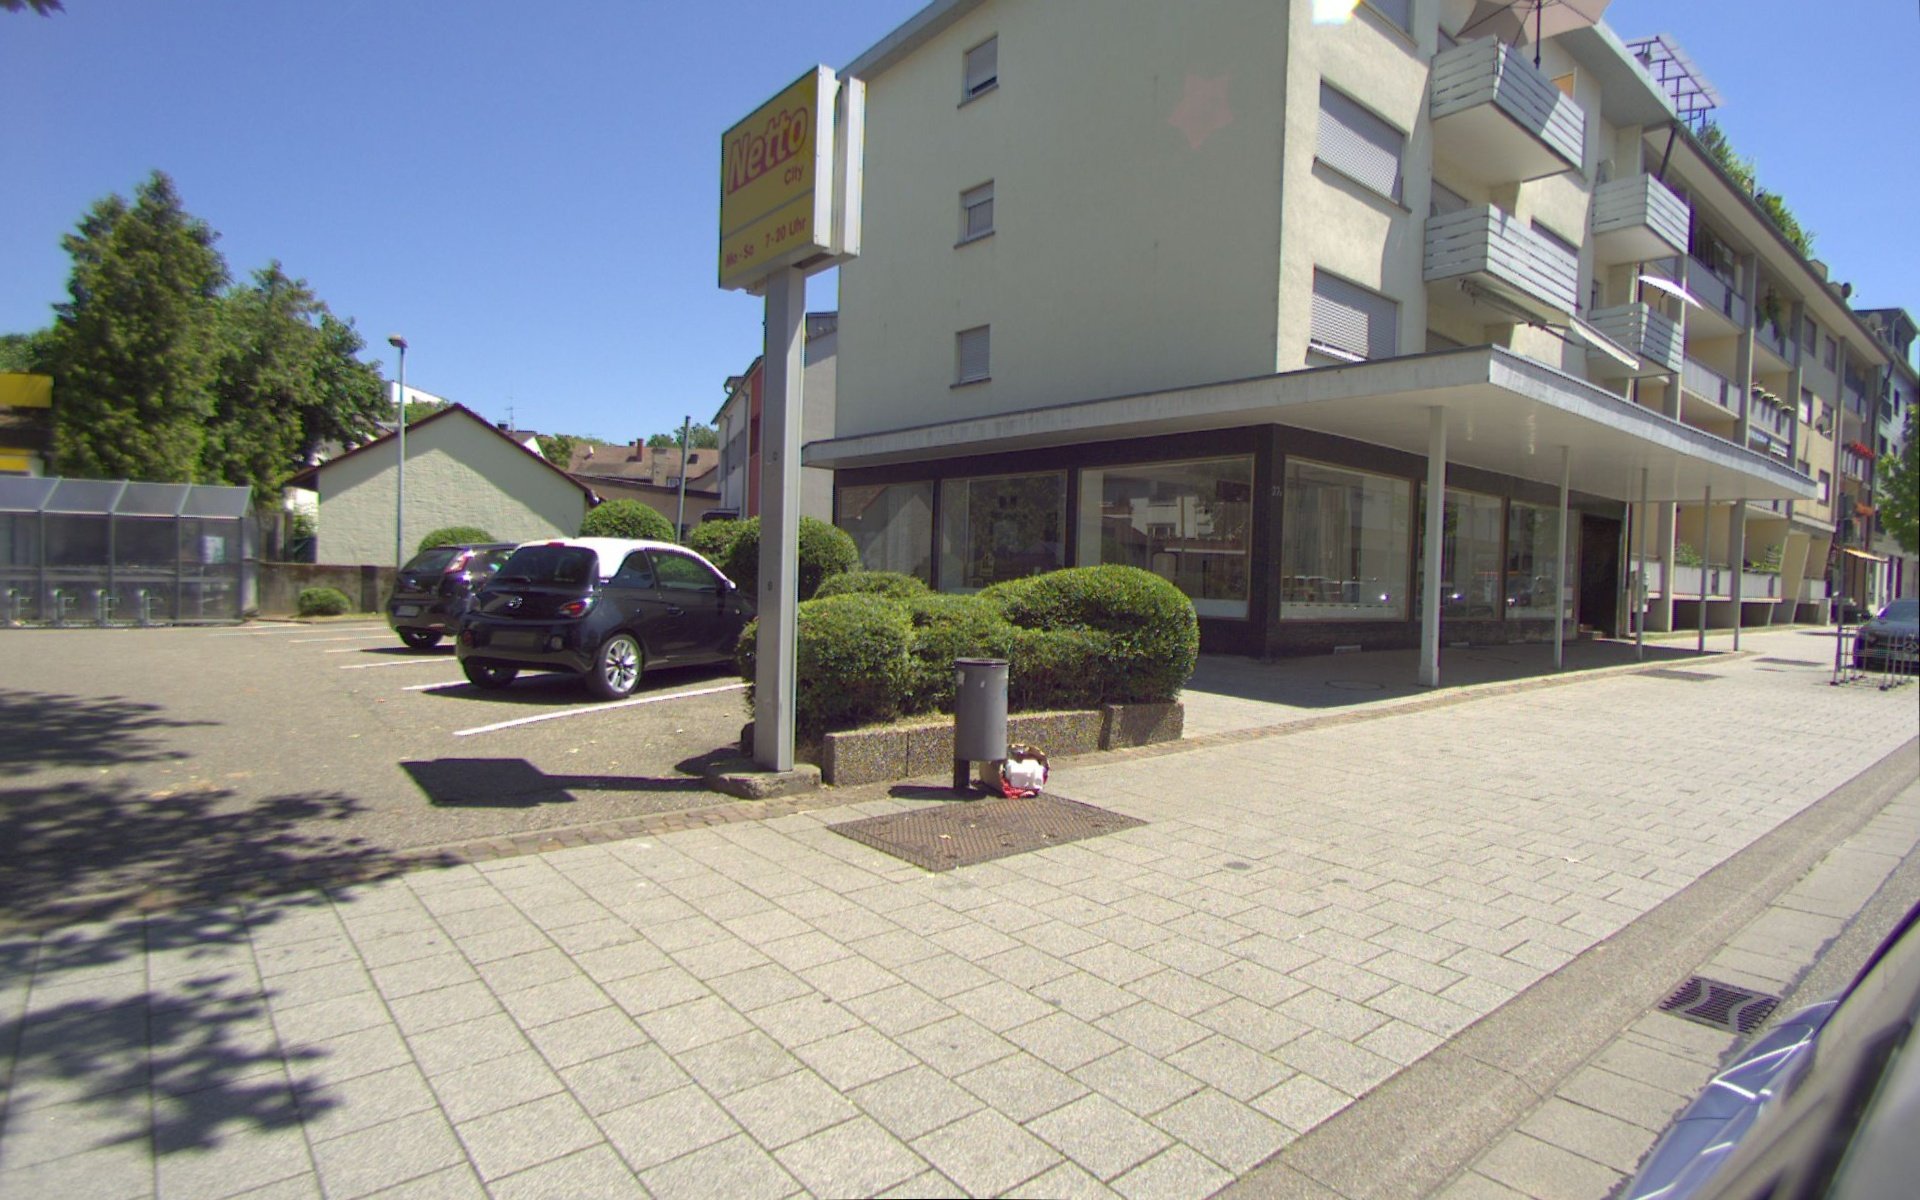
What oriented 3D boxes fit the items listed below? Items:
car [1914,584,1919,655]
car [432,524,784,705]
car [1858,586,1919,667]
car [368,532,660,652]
[{"bbox_3d":[22.914,0.458,22.727,4.043,1.526,1.731,0,3,-41],"label":"car"},{"bbox_3d":[-3.439,0.059,10.545,1.715,1.518,3.442,2,2,19],"label":"car"},{"bbox_3d":[19.004,0.515,19.587,4.043,1.403,1.818,0,5,-41],"label":"car"},{"bbox_3d":[-6.341,-0.156,14.749,1.724,1.518,3.590,1,2,31],"label":"car"}]
